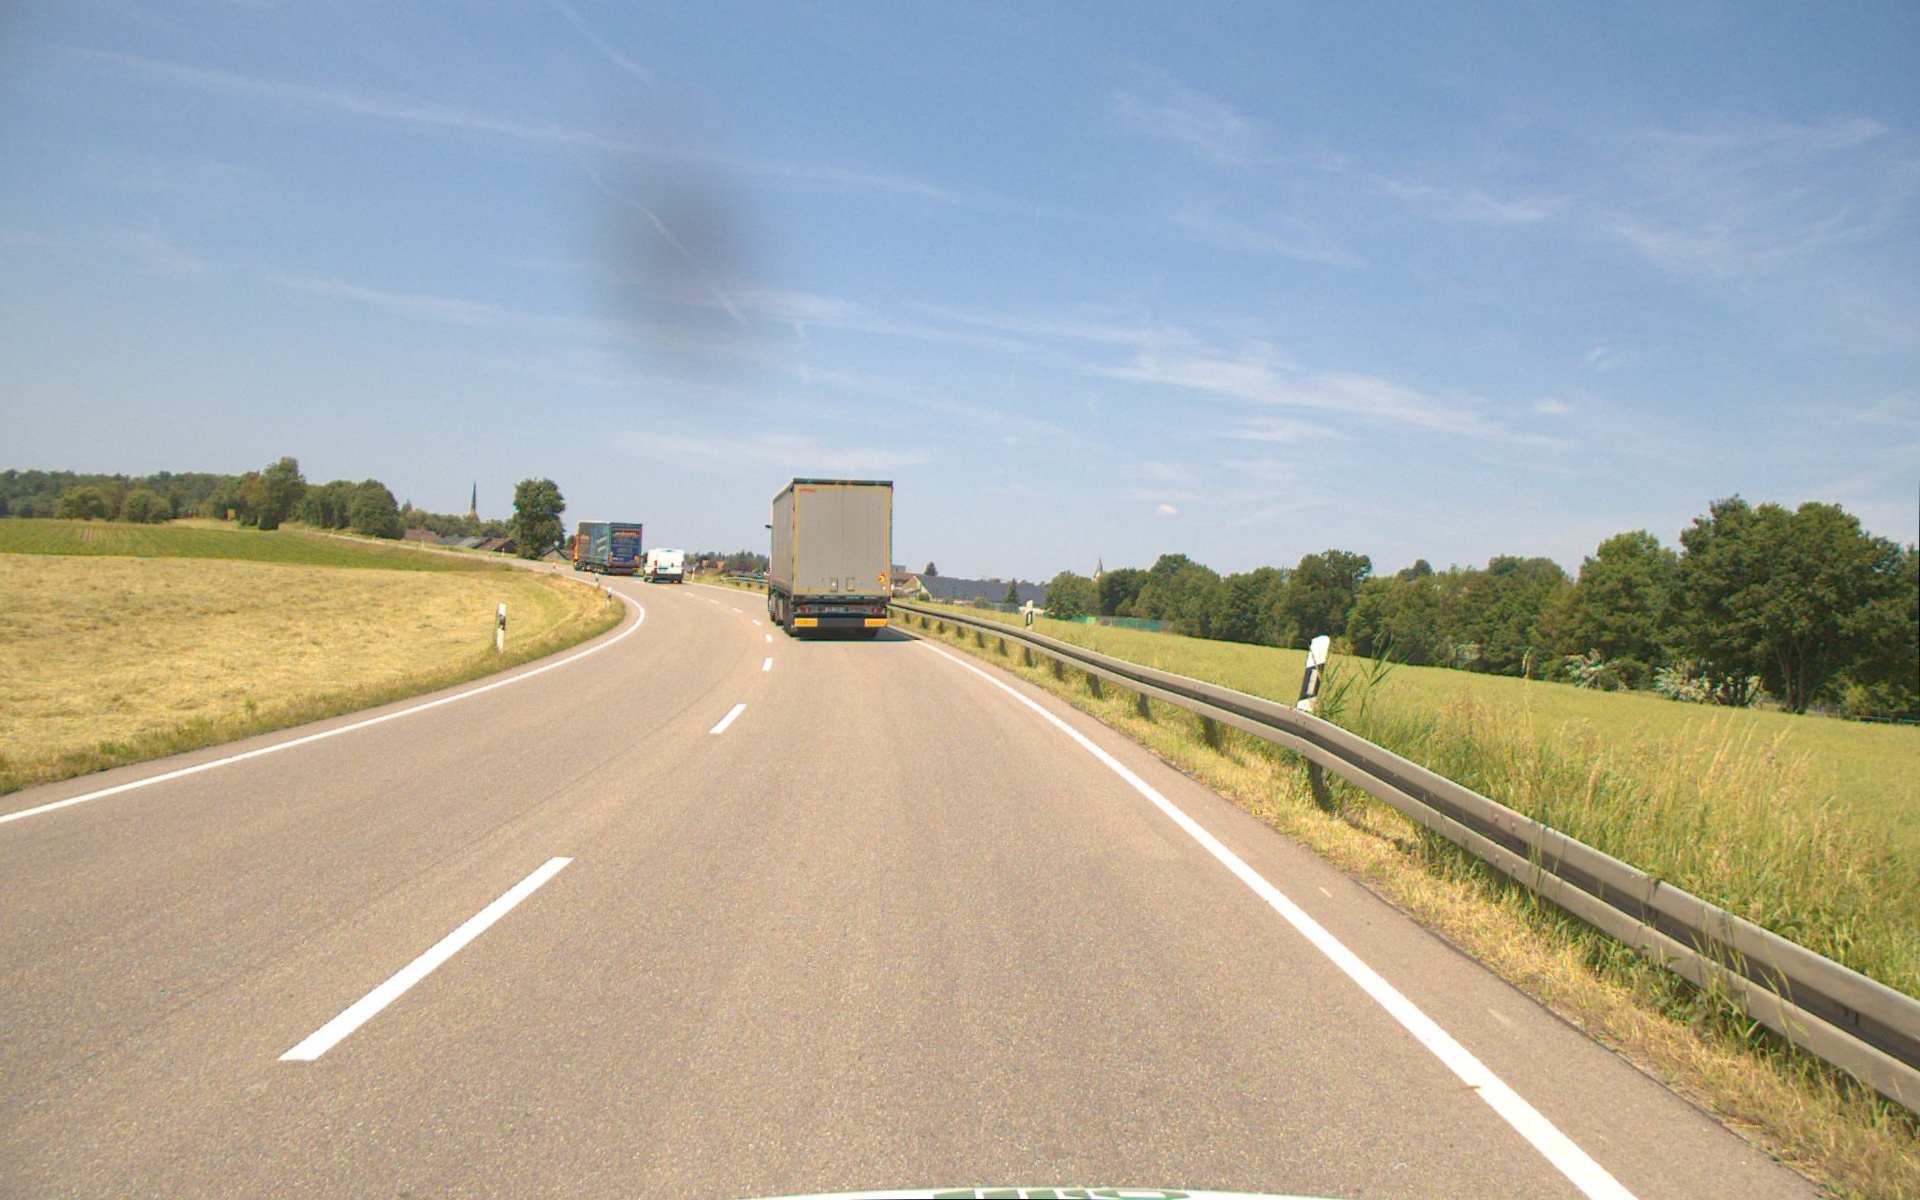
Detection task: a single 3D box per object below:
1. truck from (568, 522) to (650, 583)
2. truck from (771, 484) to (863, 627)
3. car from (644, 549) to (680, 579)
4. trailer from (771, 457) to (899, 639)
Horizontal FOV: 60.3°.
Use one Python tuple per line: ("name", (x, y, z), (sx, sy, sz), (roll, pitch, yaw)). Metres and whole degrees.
("truck", (-28.735, -3.881, 134.508), (3.499, 4.468, 18.006), (3, 1, -21))
("truck", (-4.800, -1.445, 54.840), (2.805, 4.477, 5.063), (1, 1, -7))
("car", (-20.140, -2.414, 111.614), (1.700, 1.905, 3.976), (2, -1, -21))
("trailer", (-3.864, -1.366, 47.791), (2.813, 4.477, 13.469), (1, 1, -8))
